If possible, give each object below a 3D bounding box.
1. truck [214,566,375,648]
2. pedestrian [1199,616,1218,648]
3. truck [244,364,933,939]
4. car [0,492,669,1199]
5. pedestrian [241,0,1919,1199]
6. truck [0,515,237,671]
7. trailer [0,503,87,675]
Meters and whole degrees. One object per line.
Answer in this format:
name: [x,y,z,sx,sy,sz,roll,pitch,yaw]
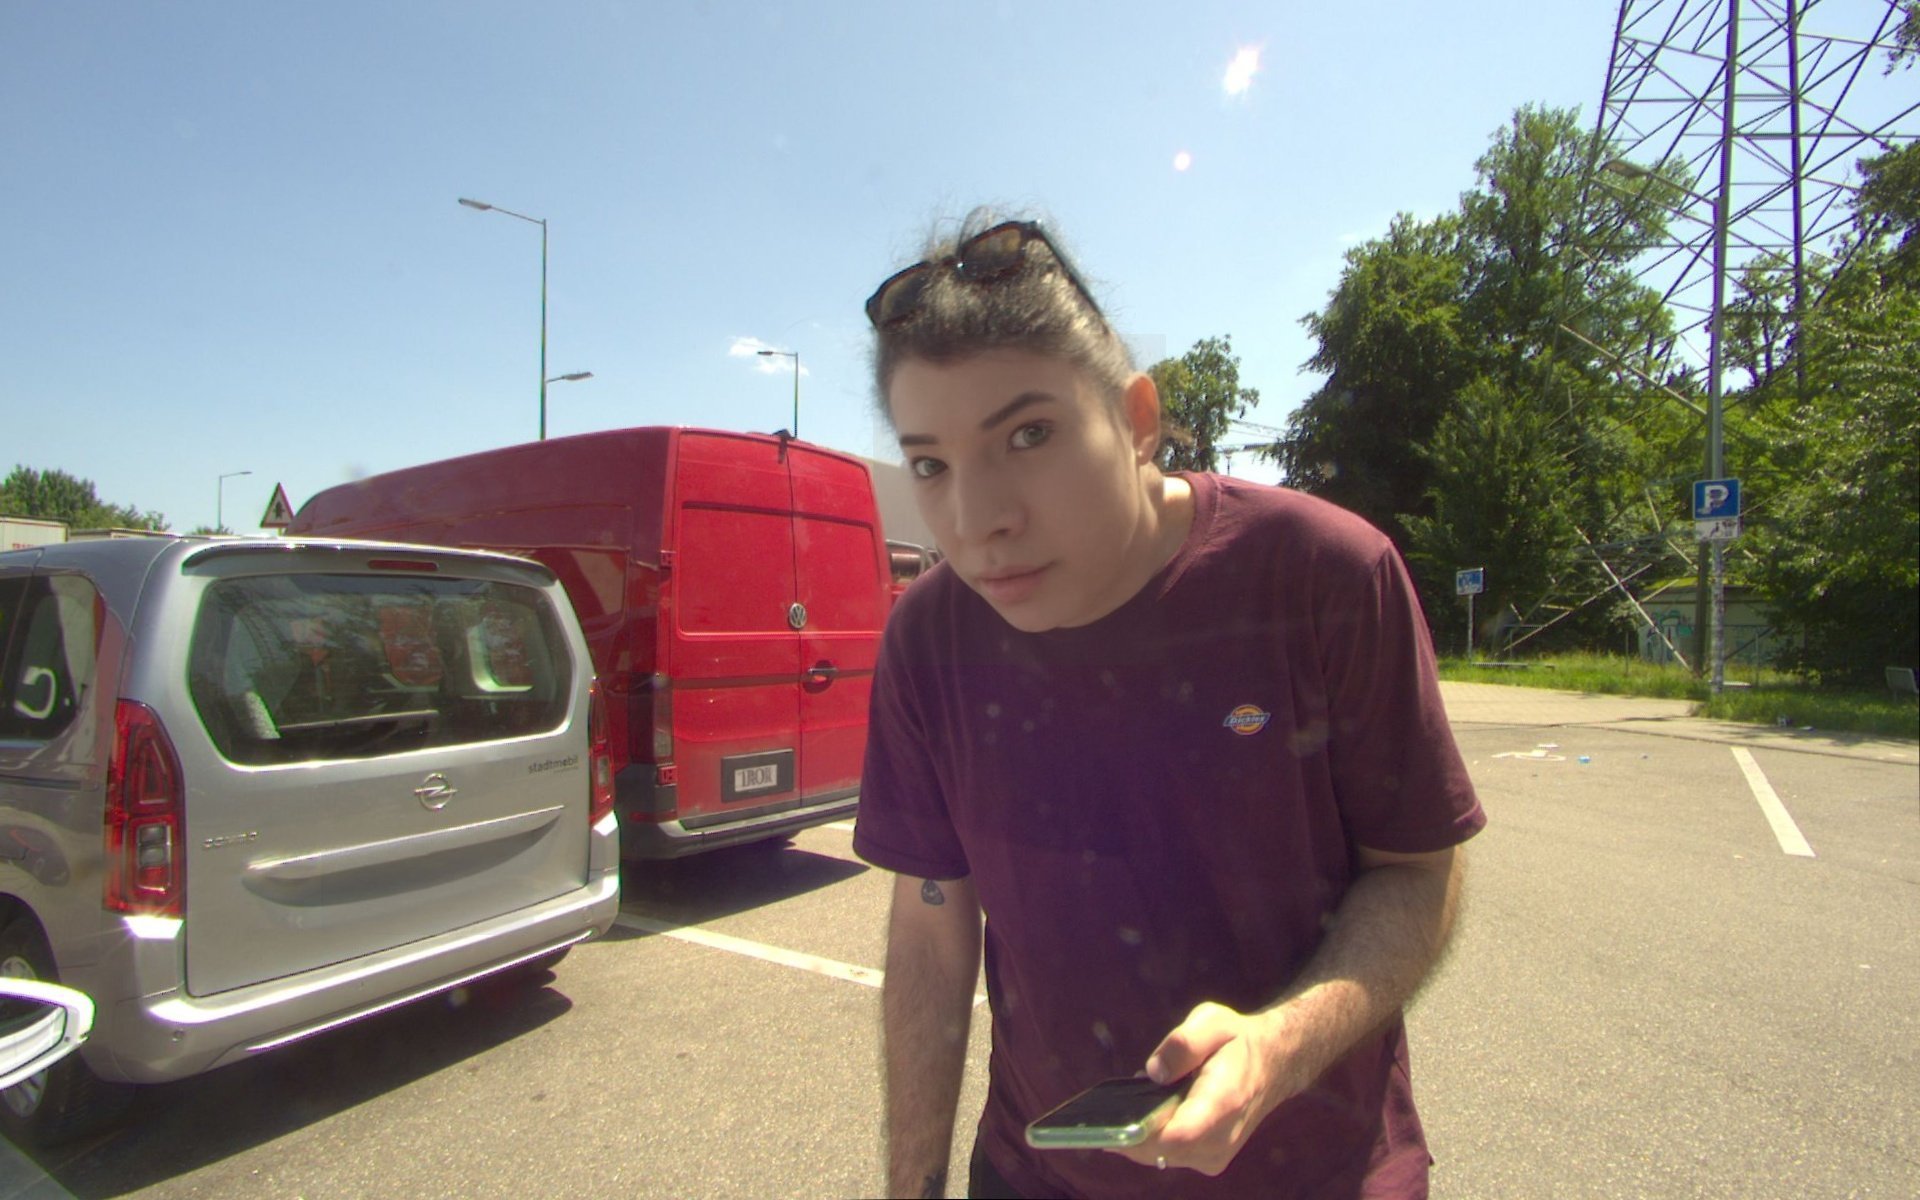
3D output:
truck: [-30.712,0.321,46.085,8.407,3.482,3.019,0,-1,33]
pedestrian: [10.929,1.422,44.095,0.579,1.402,0.754,1,-1,-8]
truck: [-2.865,0.262,7.011,5.233,2.658,1.987,0,-1,37]
car: [-3.351,0.637,4.226,3.938,1.776,1.824,0,-1,29]
pedestrian: [0.137,0.503,0.789,0.926,1.798,0.827,0,-1,28]
truck: [-27.994,-0.128,31.797,14.316,4.175,2.901,0,-3,33]
trailer: [-28.799,-0.287,28.043,13.374,4.178,2.871,0,-1,33]
